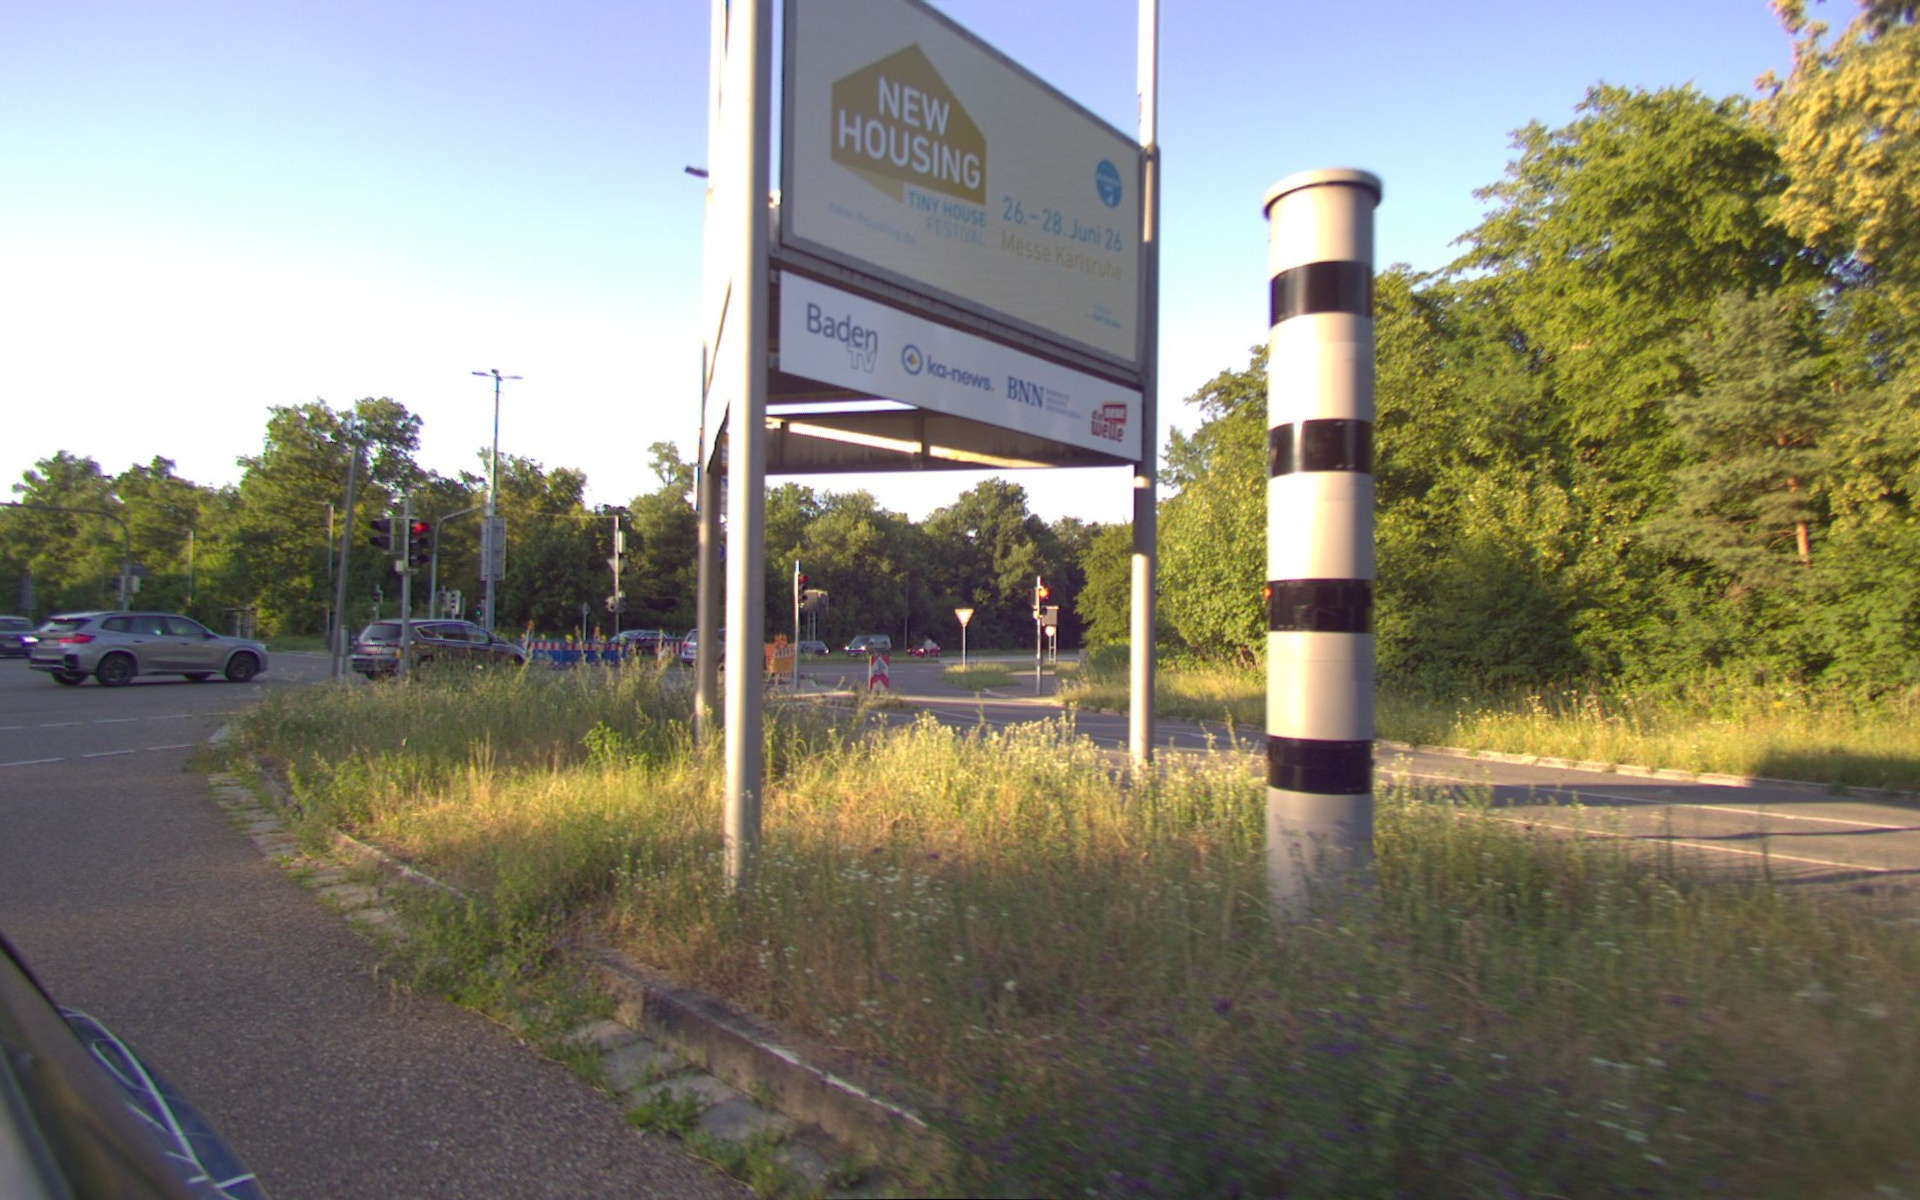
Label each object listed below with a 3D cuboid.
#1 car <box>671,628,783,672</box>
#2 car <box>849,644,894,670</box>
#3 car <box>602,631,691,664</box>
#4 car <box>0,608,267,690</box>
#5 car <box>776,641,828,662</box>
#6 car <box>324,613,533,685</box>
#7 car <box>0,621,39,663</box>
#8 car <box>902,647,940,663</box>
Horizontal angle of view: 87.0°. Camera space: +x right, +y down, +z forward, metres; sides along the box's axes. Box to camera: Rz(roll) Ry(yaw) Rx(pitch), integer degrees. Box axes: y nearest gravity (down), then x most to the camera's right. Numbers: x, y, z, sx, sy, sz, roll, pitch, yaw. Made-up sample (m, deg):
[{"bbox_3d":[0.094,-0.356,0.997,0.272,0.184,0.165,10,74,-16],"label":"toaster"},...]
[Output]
[{"bbox_3d":[-9.687,2.095,42.418,1.867,1.738,4.607,-1,-3,33],"label":"car"},{"bbox_3d":[-7.283,4.677,83.684,1.873,2.040,4.198,0,-2,25],"label":"car"},{"bbox_3d":[-15.094,2.279,48.895,1.712,1.467,4.197,0,-2,25],"label":"car"},{"bbox_3d":[-18.680,1.080,23.111,1.984,1.636,4.370,1,-2,18],"label":"car"},{"bbox_3d":[-11.879,3.854,76.378,1.712,1.467,4.363,0,-2,25],"label":"car"},{"bbox_3d":[-13.905,1.285,26.858,1.997,1.674,4.790,2,-2,19],"label":"car"},{"bbox_3d":[-37.174,1.589,39.072,3.999,1.531,1.975,-1,-3,42],"label":"car"},{"bbox_3d":[-3.591,5.111,94.448,1.873,1.432,4.198,0,-2,25],"label":"car"}]
